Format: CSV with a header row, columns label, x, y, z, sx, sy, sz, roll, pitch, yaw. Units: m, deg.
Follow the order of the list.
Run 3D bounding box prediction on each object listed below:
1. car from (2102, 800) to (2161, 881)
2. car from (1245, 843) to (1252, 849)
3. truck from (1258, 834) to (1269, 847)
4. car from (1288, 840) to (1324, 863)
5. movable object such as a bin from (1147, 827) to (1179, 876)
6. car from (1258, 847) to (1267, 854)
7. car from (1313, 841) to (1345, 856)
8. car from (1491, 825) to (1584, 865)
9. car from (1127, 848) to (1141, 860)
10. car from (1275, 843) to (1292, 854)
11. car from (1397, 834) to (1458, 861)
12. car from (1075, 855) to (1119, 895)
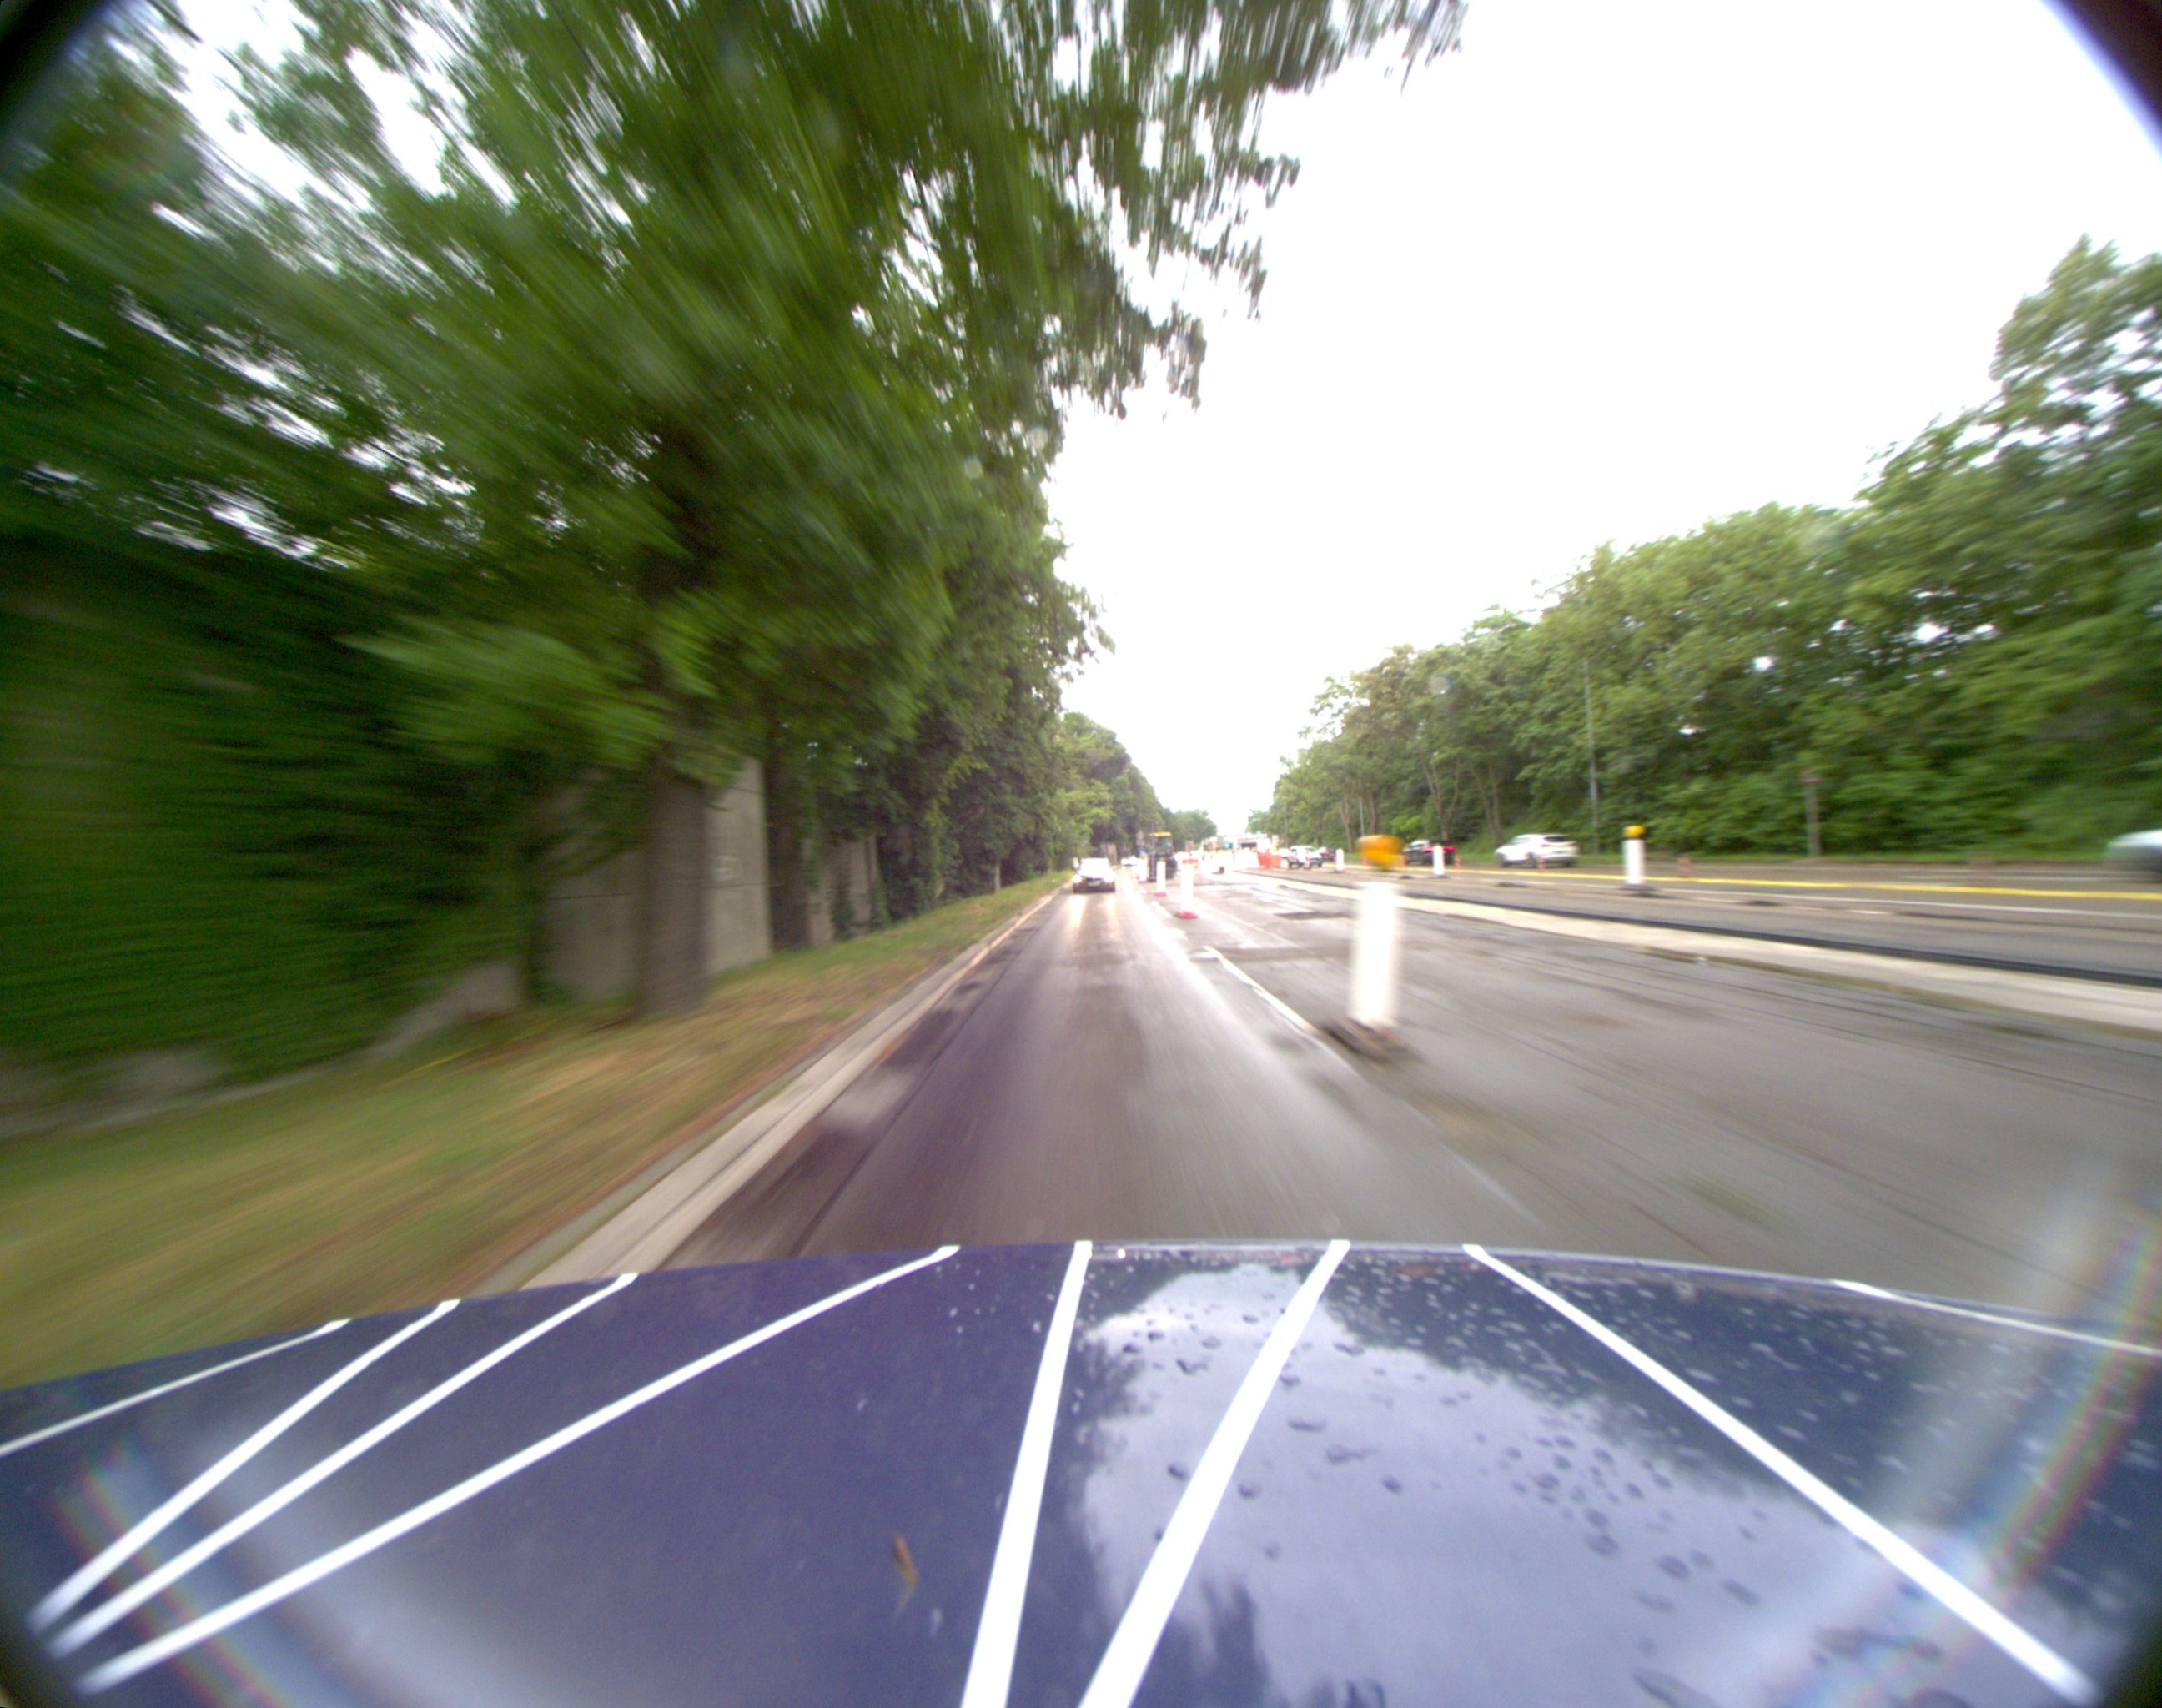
label,x,y,z,sx,sy,sz,roll,pitch,yaw
car,21.388,-0.261,13.220,1.670,1.532,4.157,-1,0,1
car,42.623,-2.066,193.665,1.677,1.604,3.773,-1,0,14
truck,55.389,-4.154,230.460,3.147,3.809,9.655,-2,1,15
car,16.849,-0.185,56.989,1.793,1.575,3.862,-4,0,5
movable object such as a bin,5.312,-0.194,49.708,1.808,2.968,5.246,-3,0,4
car,38.473,-0.767,160.941,1.623,1.475,3.610,-1,0,12
car,25.328,-0.551,77.887,1.788,1.444,4.681,-3,0,1
car,22.099,-0.431,37.006,1.781,1.741,4.380,-3,0,0
car,7.607,-0.016,109.335,1.707,1.681,4.473,-2,1,7
car,27.745,-0.806,104.252,1.787,1.418,4.472,-3,0,9
car,22.865,-0.411,50.336,1.781,1.654,4.915,-2,0,0
car,0.692,0.841,32.212,1.701,1.477,4.000,-2,1,2
